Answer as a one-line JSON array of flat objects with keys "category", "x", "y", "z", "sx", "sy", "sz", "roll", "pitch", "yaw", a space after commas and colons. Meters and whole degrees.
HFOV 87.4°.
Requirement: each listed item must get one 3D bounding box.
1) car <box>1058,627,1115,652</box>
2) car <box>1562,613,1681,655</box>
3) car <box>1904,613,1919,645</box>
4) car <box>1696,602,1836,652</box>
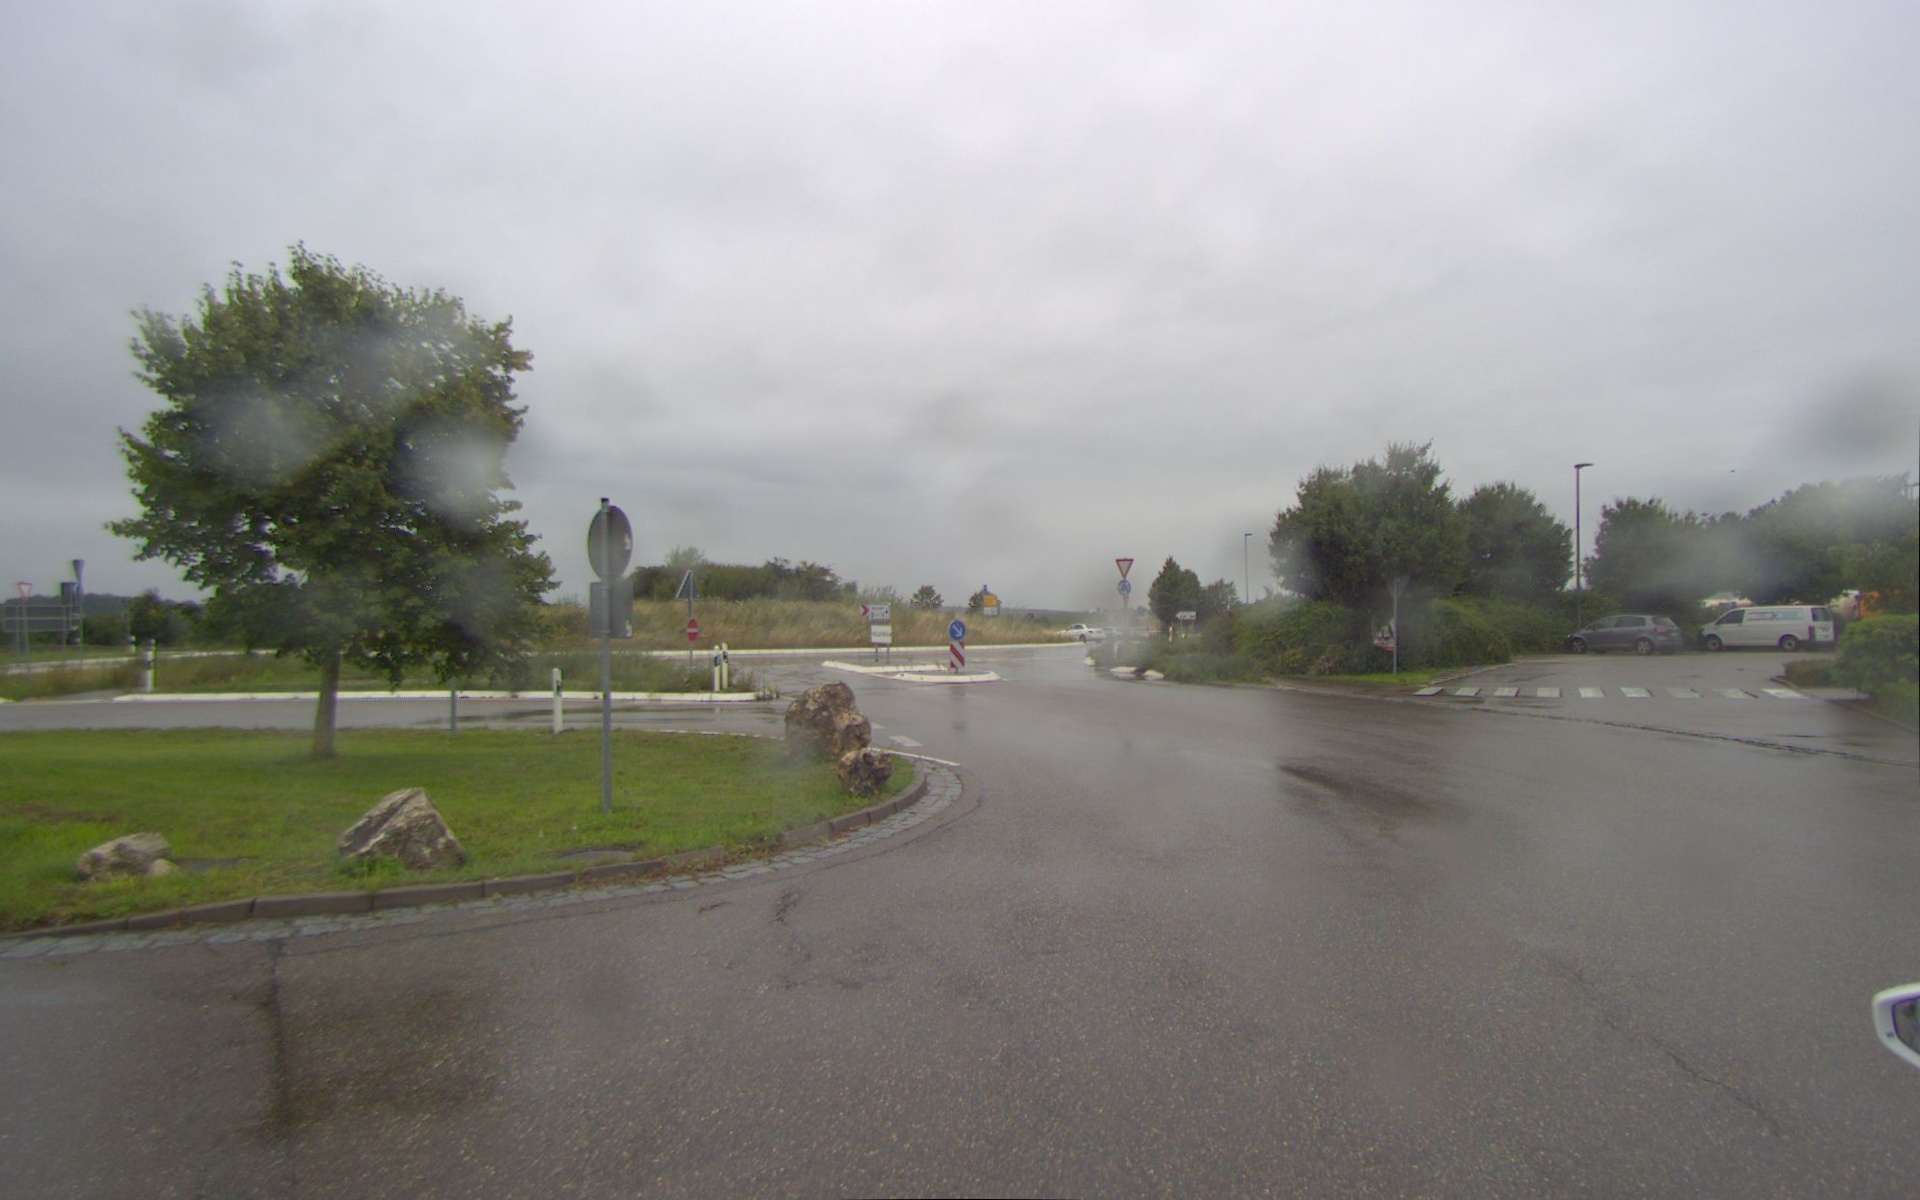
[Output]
[{"category": "car", "x": 9.423, "y": 2.967, "z": 75.207, "sx": 1.732, "sy": 1.781, "sz": 4.323, "roll": 1, "pitch": -2, "yaw": -36}, {"category": "car", "x": 26.277, "y": 1.345, "z": 40.021, "sx": 1.432, "sy": 1.571, "sz": 3.720, "roll": 0, "pitch": -2, "yaw": -26}, {"category": "car", "x": 45.417, "y": 1.325, "z": 46.072, "sx": 1.554, "sy": 1.477, "sz": 3.681, "roll": -2, "pitch": -2, "yaw": 17}, {"category": "car", "x": 35.310, "y": 1.190, "z": 44.155, "sx": 1.623, "sy": 2.060, "sz": 4.506, "roll": 0, "pitch": -2, "yaw": -26}]
